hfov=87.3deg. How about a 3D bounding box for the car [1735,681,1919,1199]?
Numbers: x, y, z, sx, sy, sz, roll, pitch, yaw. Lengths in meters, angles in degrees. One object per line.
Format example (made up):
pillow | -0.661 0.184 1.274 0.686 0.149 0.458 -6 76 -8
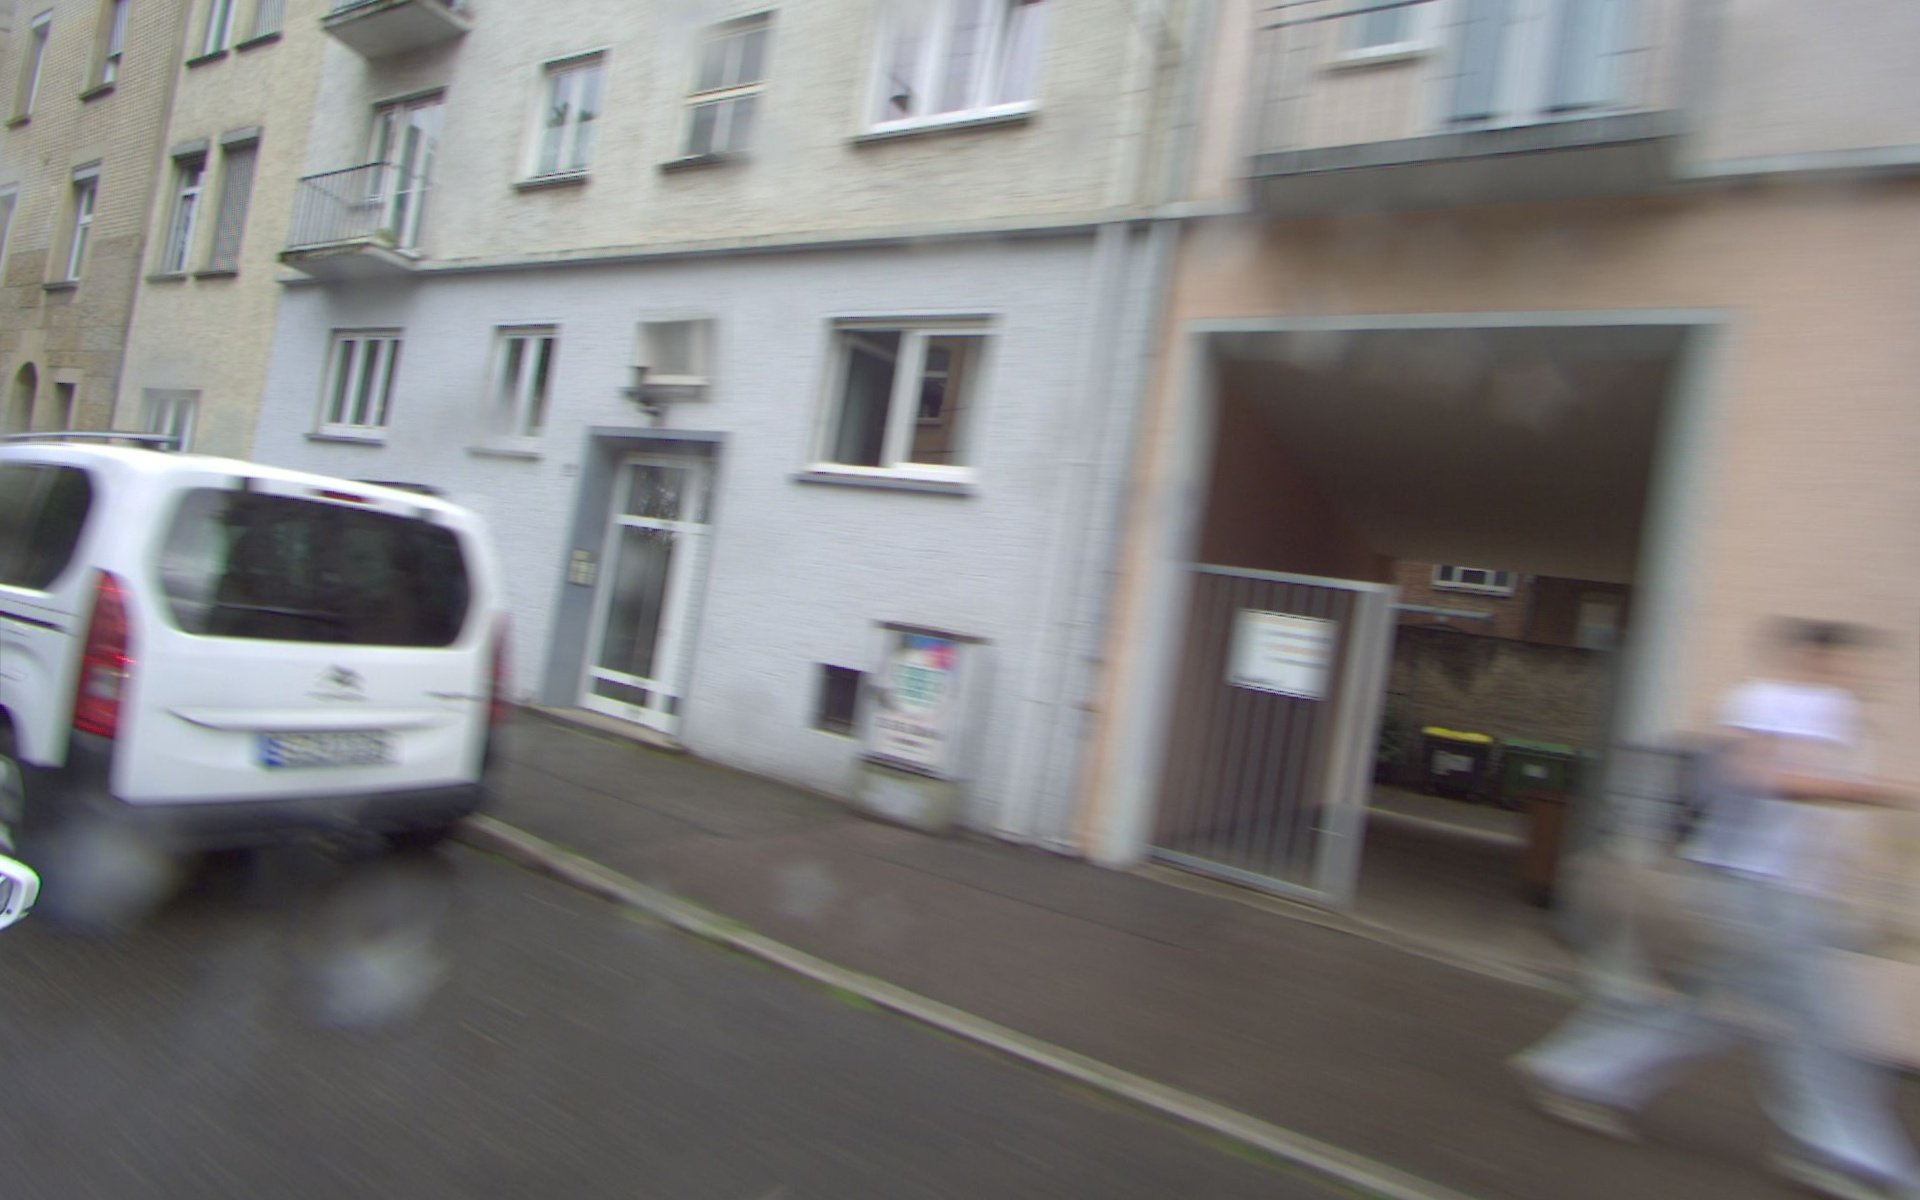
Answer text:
car | 3.457 1.110 0.292 4.819 1.472 1.876 7 -2 30

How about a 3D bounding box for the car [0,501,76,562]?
car | -28.737 -2.221 29.086 1.861 1.549 4.343 7 -1 33

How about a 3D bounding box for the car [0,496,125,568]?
car | -24.432 -1.878 25.614 1.834 1.502 4.454 7 -1 34

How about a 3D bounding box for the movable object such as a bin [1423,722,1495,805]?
movable object such as a bin | 10.491 3.408 21.130 1.101 1.515 1.222 7 -2 31

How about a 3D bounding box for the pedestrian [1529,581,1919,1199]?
pedestrian | 2.585 0.937 3.295 1.022 1.857 0.746 7 1 33

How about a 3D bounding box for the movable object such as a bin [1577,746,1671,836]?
movable object such as a bin | 12.875 3.674 19.563 1.315 1.450 1.126 7 -2 32

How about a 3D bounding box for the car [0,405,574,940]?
car | -4.290 0.112 5.274 4.394 1.770 1.832 7 -2 33

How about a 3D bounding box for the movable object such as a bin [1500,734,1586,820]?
movable object such as a bin | 11.742 3.540 20.281 1.315 1.450 1.126 7 -2 32

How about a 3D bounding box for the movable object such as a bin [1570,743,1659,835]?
movable object such as a bin | 12.711 3.640 19.588 1.232 1.515 1.222 7 -2 31

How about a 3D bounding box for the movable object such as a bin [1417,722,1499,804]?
movable object such as a bin | 10.494 3.402 21.170 1.315 1.450 1.126 7 -2 32

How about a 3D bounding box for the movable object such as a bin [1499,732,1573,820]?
movable object such as a bin | 11.642 3.528 20.343 1.101 1.515 1.222 7 -2 31
